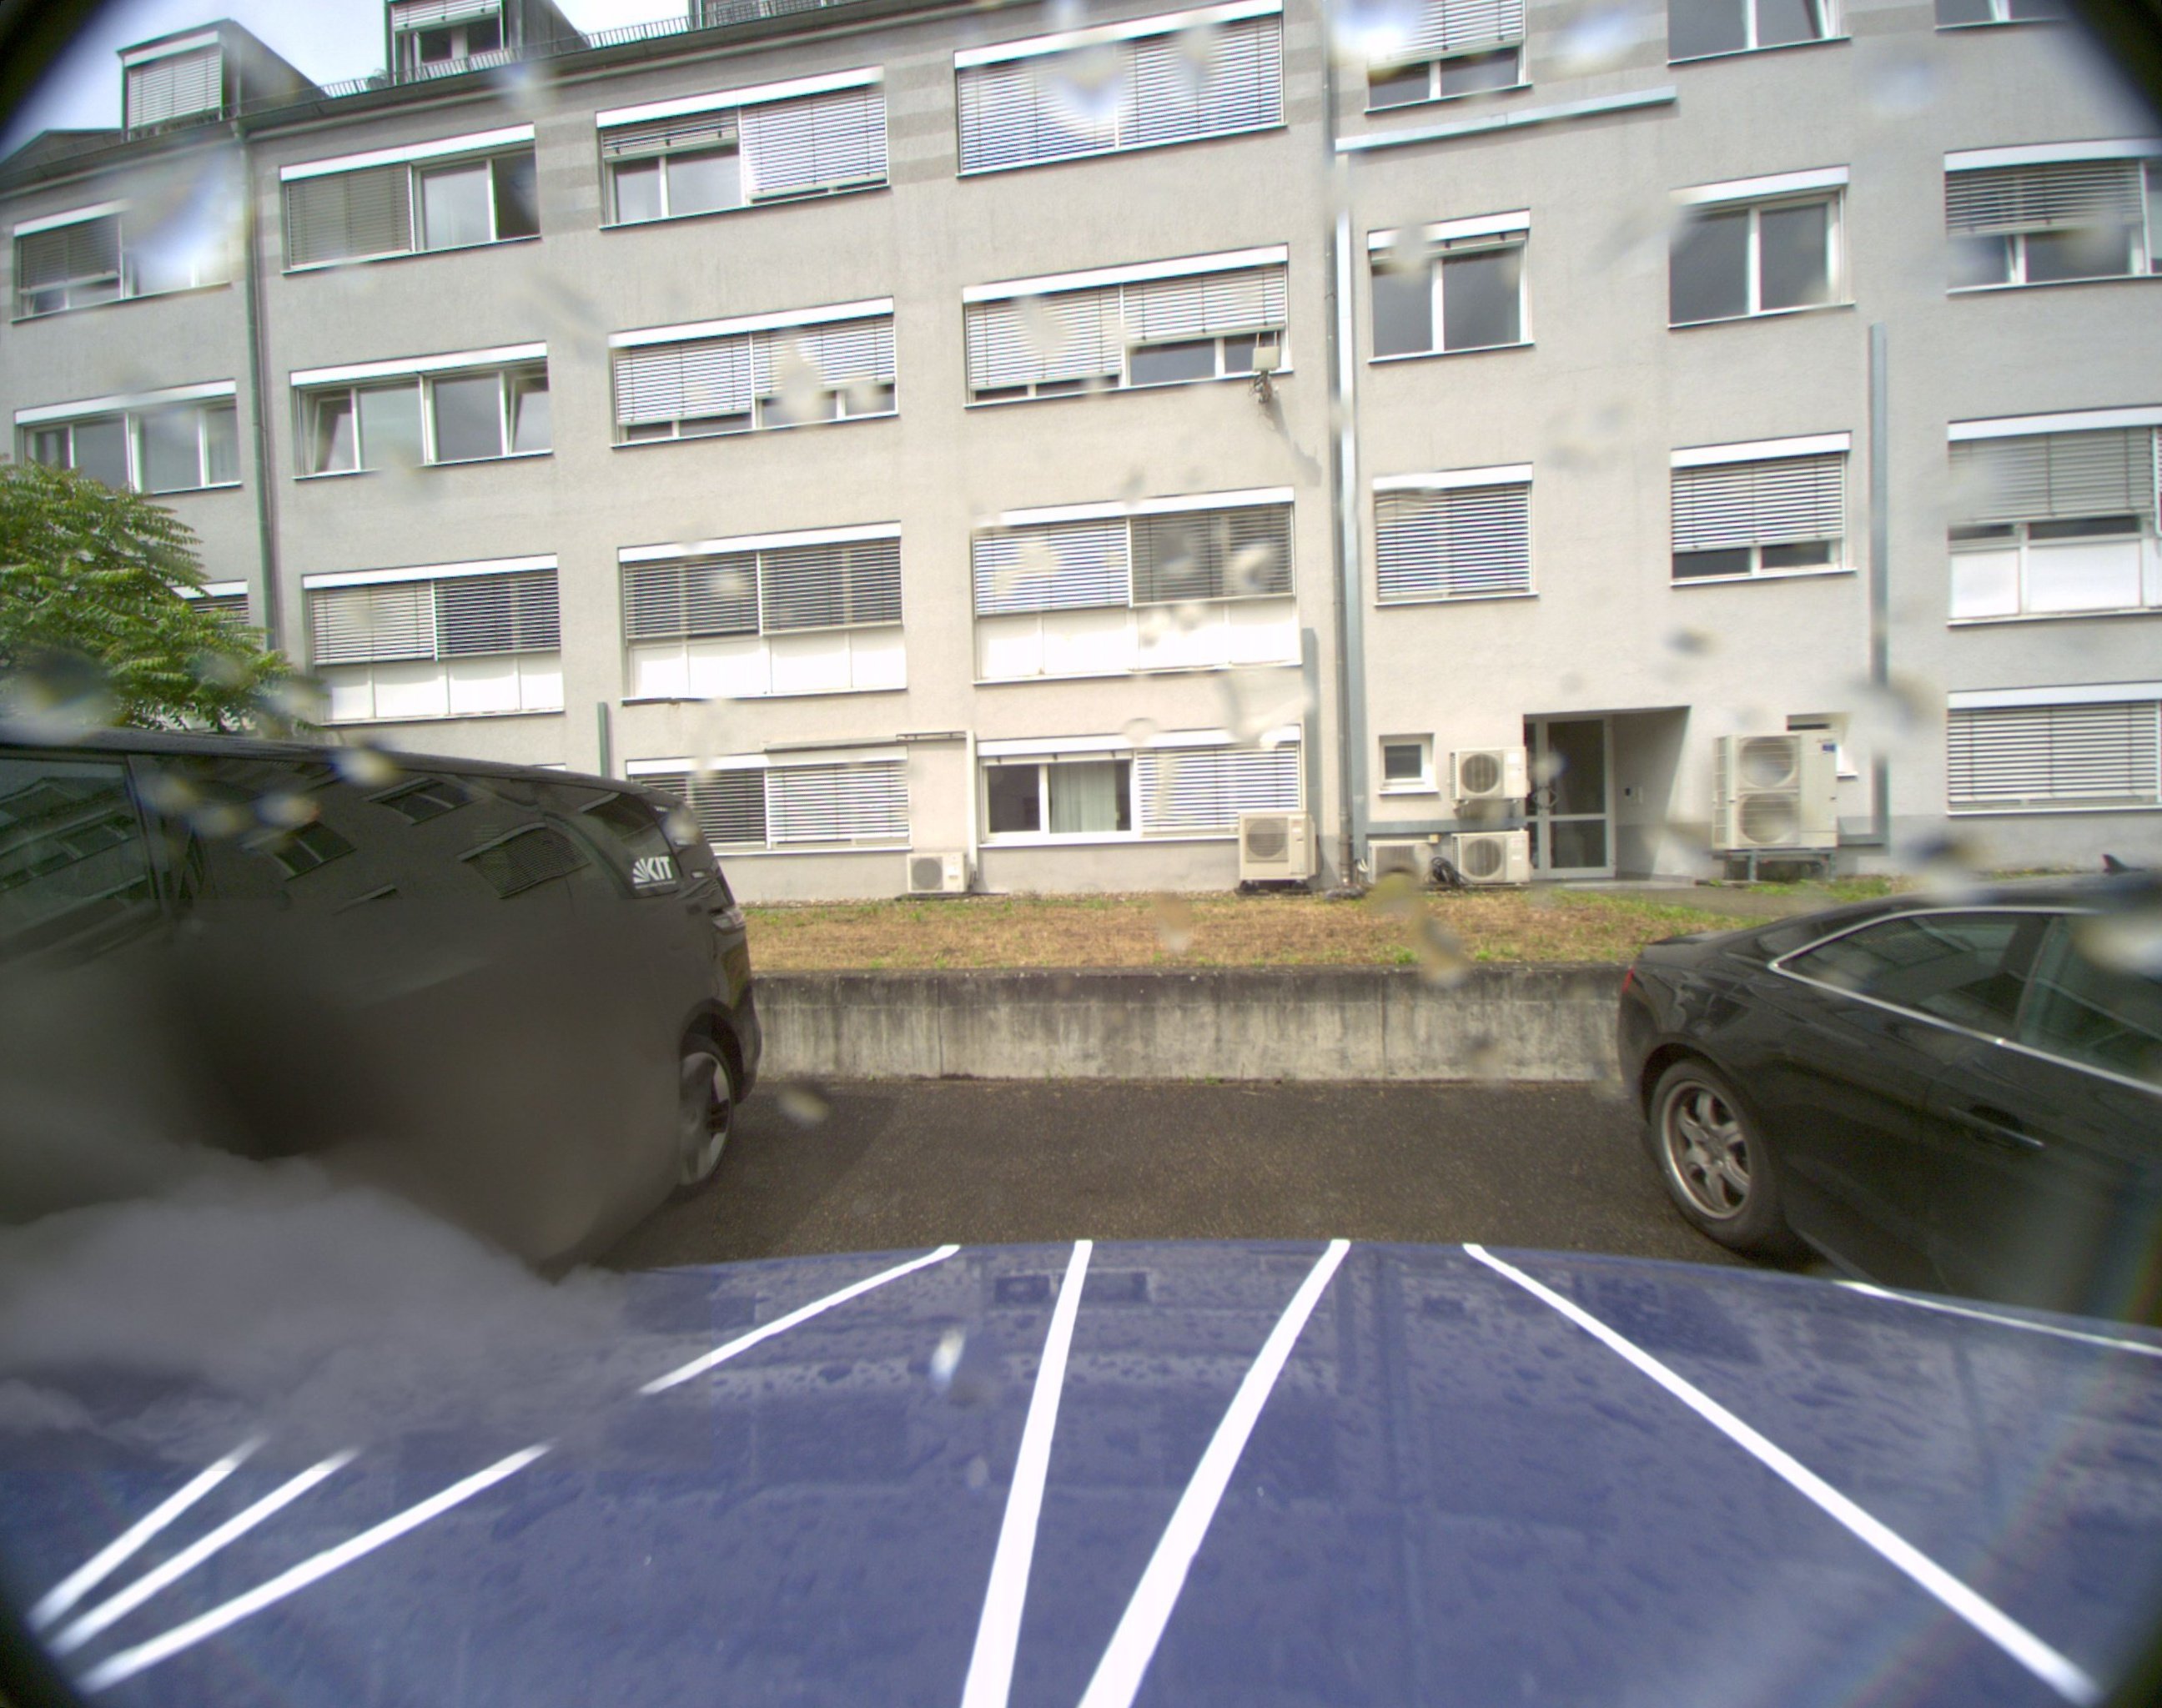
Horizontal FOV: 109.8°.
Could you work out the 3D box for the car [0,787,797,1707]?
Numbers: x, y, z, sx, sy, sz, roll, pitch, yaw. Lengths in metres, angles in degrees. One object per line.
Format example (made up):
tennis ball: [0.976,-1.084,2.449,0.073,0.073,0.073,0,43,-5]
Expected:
car: [-2.839,0.831,1.831,1.968,1.854,4.749,-2,2,7]

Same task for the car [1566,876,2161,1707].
car: [2.829,0.887,1.192,1.761,1.344,4.530,-2,2,8]
